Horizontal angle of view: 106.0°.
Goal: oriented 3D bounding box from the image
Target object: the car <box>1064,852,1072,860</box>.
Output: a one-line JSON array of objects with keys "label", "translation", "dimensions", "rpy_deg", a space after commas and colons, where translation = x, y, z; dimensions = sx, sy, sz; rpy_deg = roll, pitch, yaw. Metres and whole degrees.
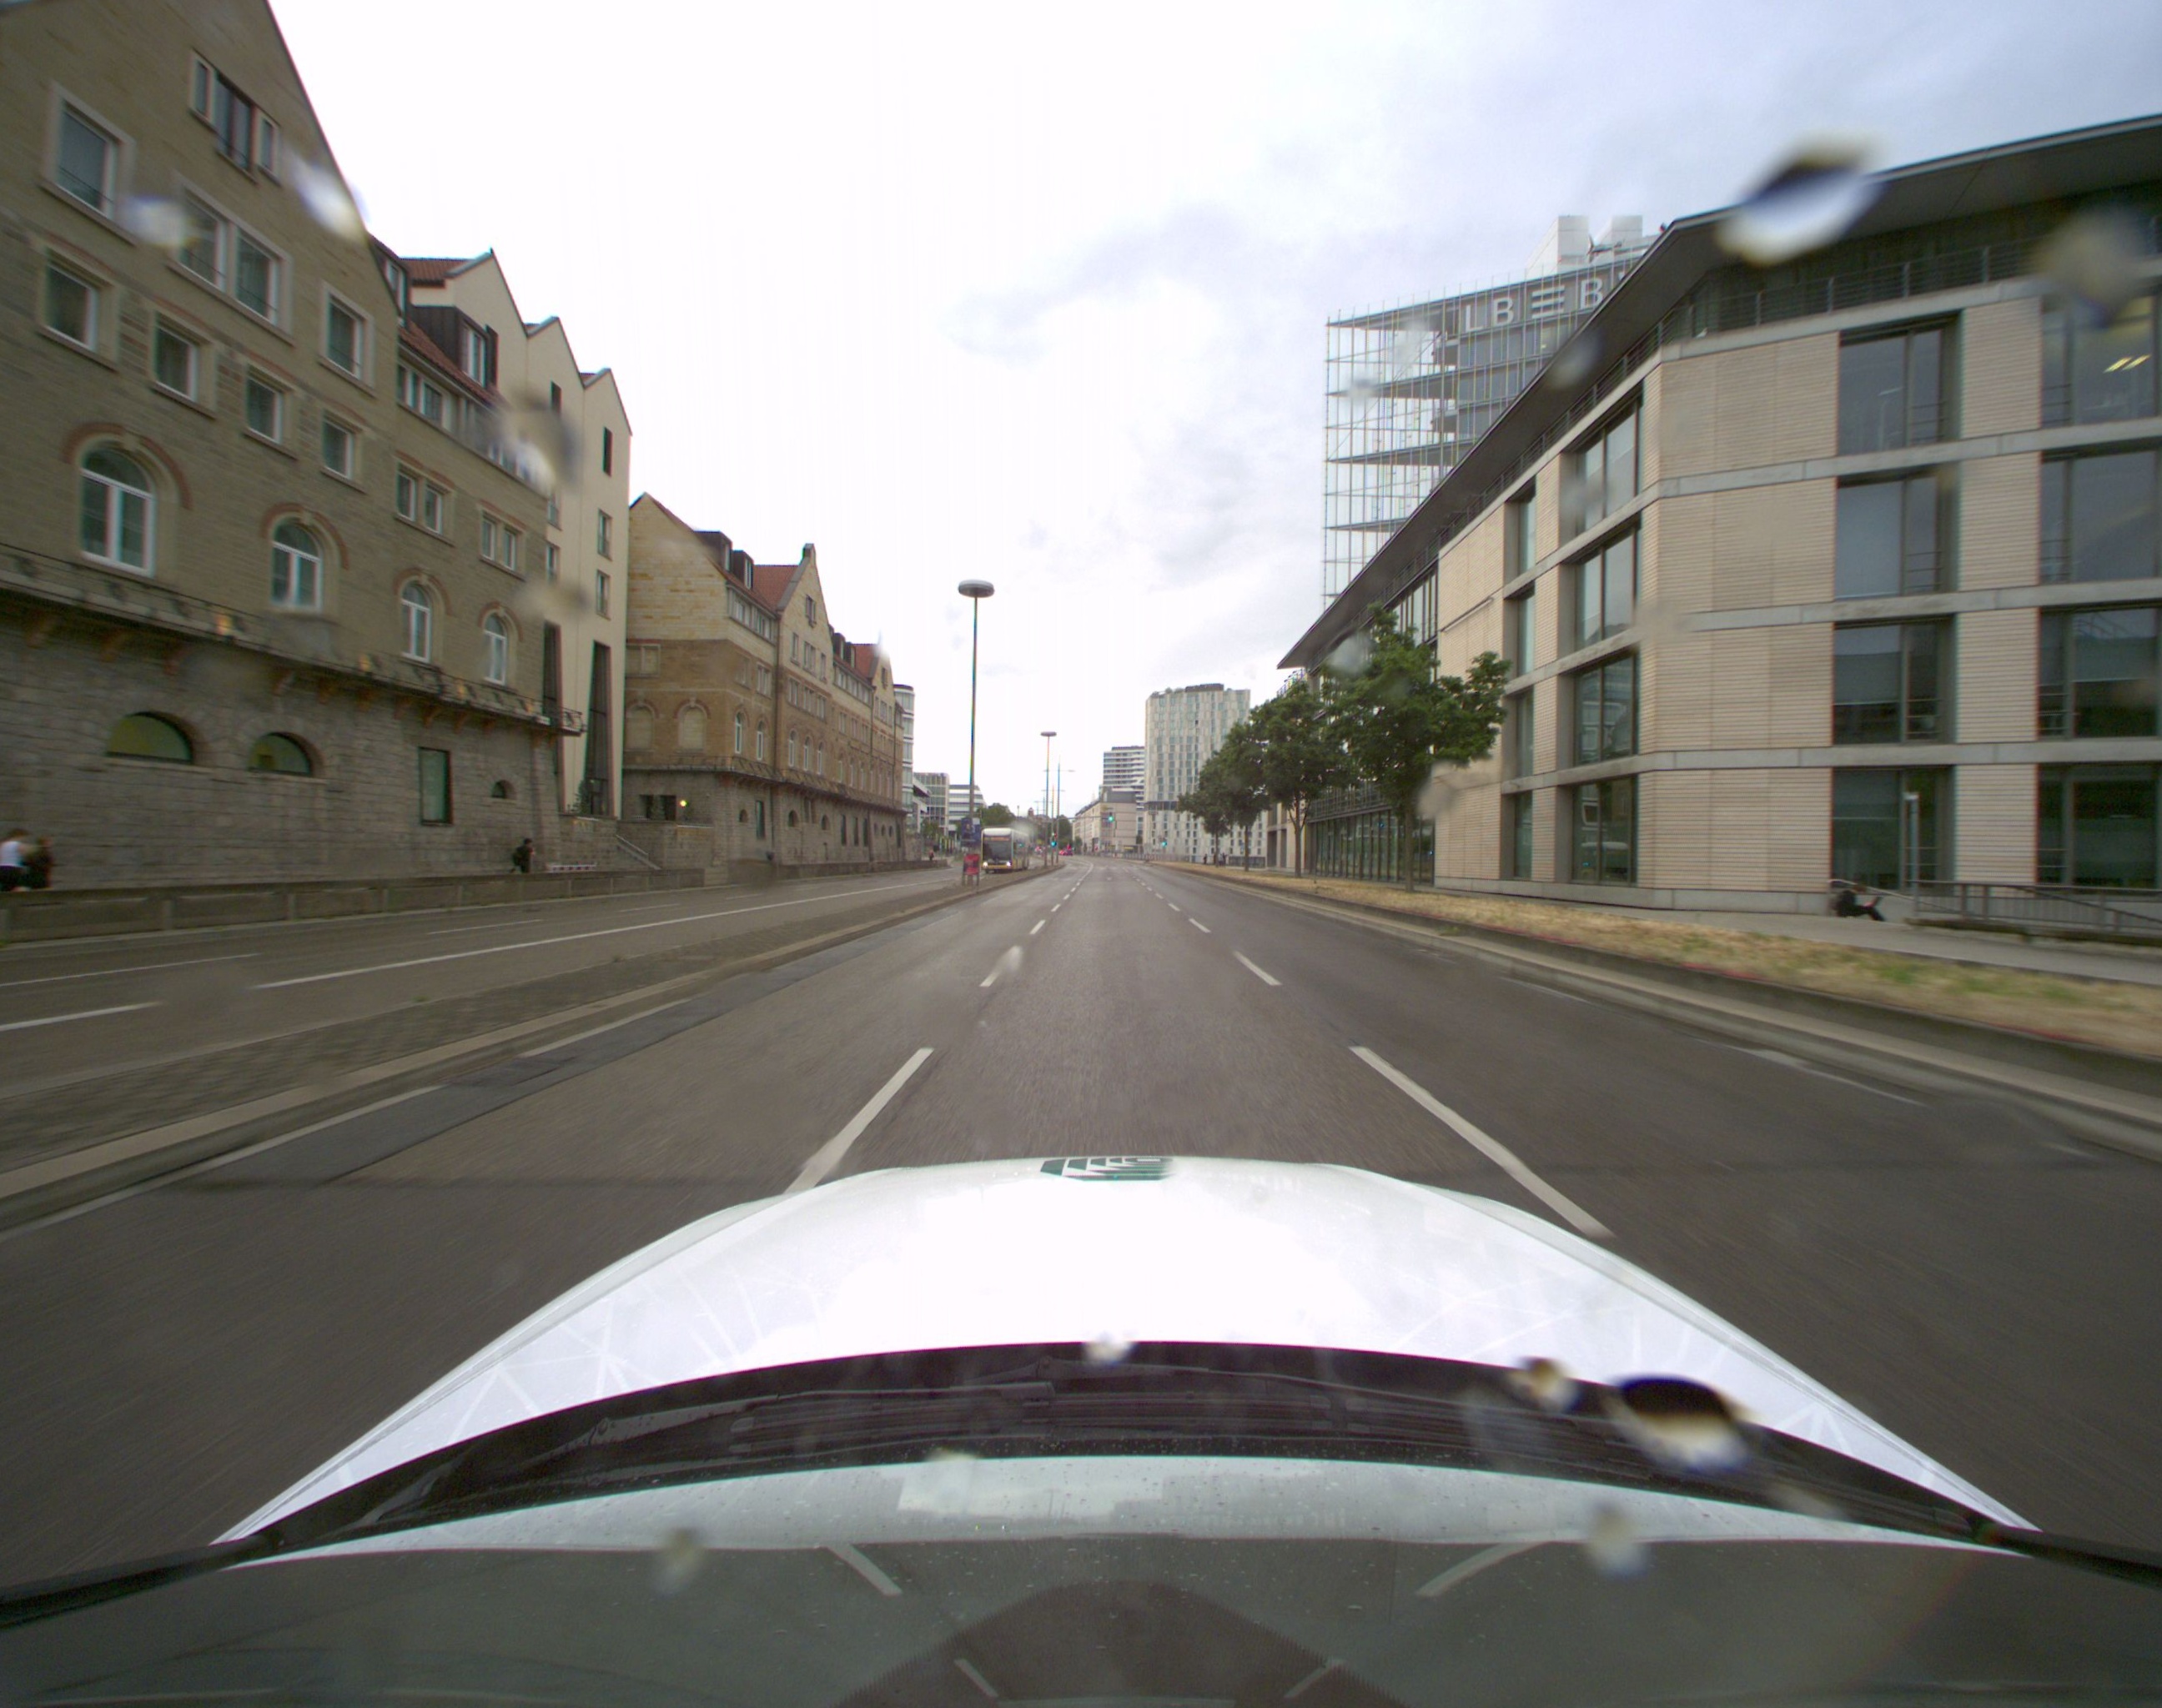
[{"label": "car", "translation": [-4.025, 0.658, 257.975], "dimensions": [1.987, 2.342, 4.000], "rpy_deg": [-10, 0, 1]}]

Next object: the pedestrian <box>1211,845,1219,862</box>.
[{"label": "pedestrian", "translation": [14.594, -0.054, 88.578], "dimensions": [0.787, 1.841, 0.545], "rpy_deg": [-2, 2, -42]}]

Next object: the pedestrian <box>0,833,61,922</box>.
[{"label": "pedestrian", "translation": [-18.262, 0.381, 13.892], "dimensions": [0.751, 1.477, 0.714], "rpy_deg": [0, 1, 1]}]

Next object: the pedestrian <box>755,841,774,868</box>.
[{"label": "pedestrian", "translation": [-17.637, 0.033, 45.404], "dimensions": [0.751, 1.477, 0.714], "rpy_deg": [0, 1, 1]}]

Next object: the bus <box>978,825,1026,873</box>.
[{"label": "bus", "translation": [-6.195, -0.391, 65.639], "dimensions": [2.689, 3.559, 10.095], "rpy_deg": [0, 0, 1]}]

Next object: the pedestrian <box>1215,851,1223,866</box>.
[{"label": "pedestrian", "translation": [14.610, 0.494, 86.065], "dimensions": [0.544, 1.578, 0.675], "rpy_deg": [0, 2, 36]}]

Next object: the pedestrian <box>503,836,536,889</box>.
[{"label": "pedestrian", "translation": [-18.646, 0.267, 27.067], "dimensions": [0.639, 1.745, 0.620], "rpy_deg": [-1, 1, -3]}]

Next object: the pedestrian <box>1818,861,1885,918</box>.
[{"label": "pedestrian", "translation": [18.823, 0.858, 19.923], "dimensions": [0.868, 1.340, 0.974], "rpy_deg": [0, 0, 19]}]

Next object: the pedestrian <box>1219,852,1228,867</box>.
[{"label": "pedestrian", "translation": [15.180, 0.583, 86.730], "dimensions": [0.662, 1.578, 0.673], "rpy_deg": [1, 2, 39]}]

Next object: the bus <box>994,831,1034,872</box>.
[{"label": "bus", "translation": [-6.153, -0.303, 76.284], "dimensions": [2.689, 3.559, 10.096], "rpy_deg": [0, 1, 1]}]

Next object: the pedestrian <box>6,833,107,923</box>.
[{"label": "pedestrian", "translation": [-17.442, 0.390, 13.886], "dimensions": [0.751, 1.477, 0.714], "rpy_deg": [0, 1, 1]}]

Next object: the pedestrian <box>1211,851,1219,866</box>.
[{"label": "pedestrian", "translation": [14.558, 0.492, 88.556], "dimensions": [0.544, 1.578, 0.675], "rpy_deg": [0, 2, 36]}]
